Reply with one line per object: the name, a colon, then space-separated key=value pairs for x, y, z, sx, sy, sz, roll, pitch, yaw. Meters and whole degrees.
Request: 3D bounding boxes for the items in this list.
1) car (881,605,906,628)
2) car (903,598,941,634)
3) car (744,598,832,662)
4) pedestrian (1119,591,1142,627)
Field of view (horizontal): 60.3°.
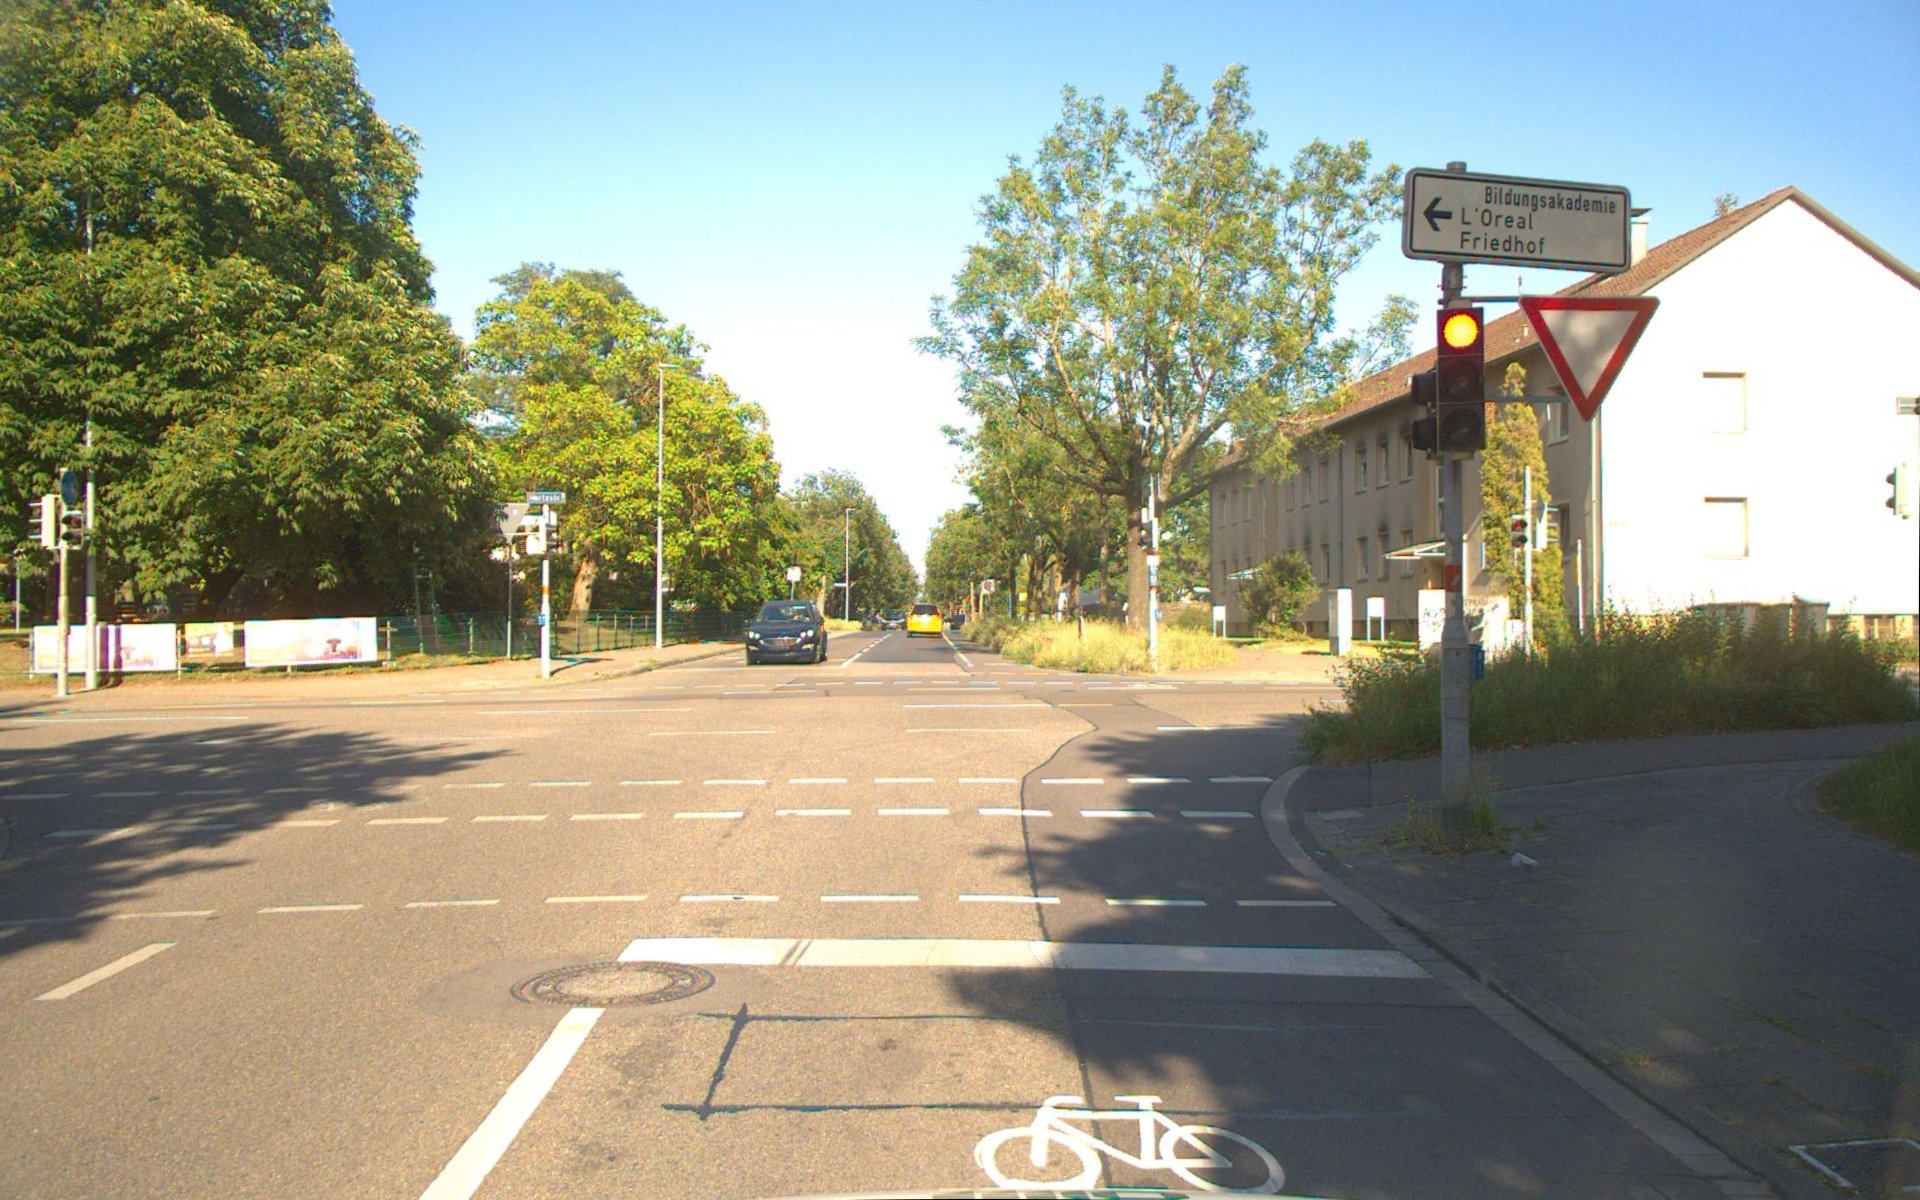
car: x=-4.943 y=1.197 z=123.090 sx=1.722 sy=1.653 sz=3.268 roll=0 pitch=0 yaw=0
car: x=-1.764 y=0.747 z=78.144 sx=1.716 sy=1.610 sz=3.999 roll=1 pitch=0 yaw=-1
car: x=-3.961 y=0.665 z=38.546 sx=1.676 sy=1.410 sz=3.471 roll=0 pitch=0 yaw=0
pedestrian: x=7.286 y=0.381 z=70.507 sx=0.825 sy=1.519 sz=0.924 roll=2 pitch=0 yaw=-1
